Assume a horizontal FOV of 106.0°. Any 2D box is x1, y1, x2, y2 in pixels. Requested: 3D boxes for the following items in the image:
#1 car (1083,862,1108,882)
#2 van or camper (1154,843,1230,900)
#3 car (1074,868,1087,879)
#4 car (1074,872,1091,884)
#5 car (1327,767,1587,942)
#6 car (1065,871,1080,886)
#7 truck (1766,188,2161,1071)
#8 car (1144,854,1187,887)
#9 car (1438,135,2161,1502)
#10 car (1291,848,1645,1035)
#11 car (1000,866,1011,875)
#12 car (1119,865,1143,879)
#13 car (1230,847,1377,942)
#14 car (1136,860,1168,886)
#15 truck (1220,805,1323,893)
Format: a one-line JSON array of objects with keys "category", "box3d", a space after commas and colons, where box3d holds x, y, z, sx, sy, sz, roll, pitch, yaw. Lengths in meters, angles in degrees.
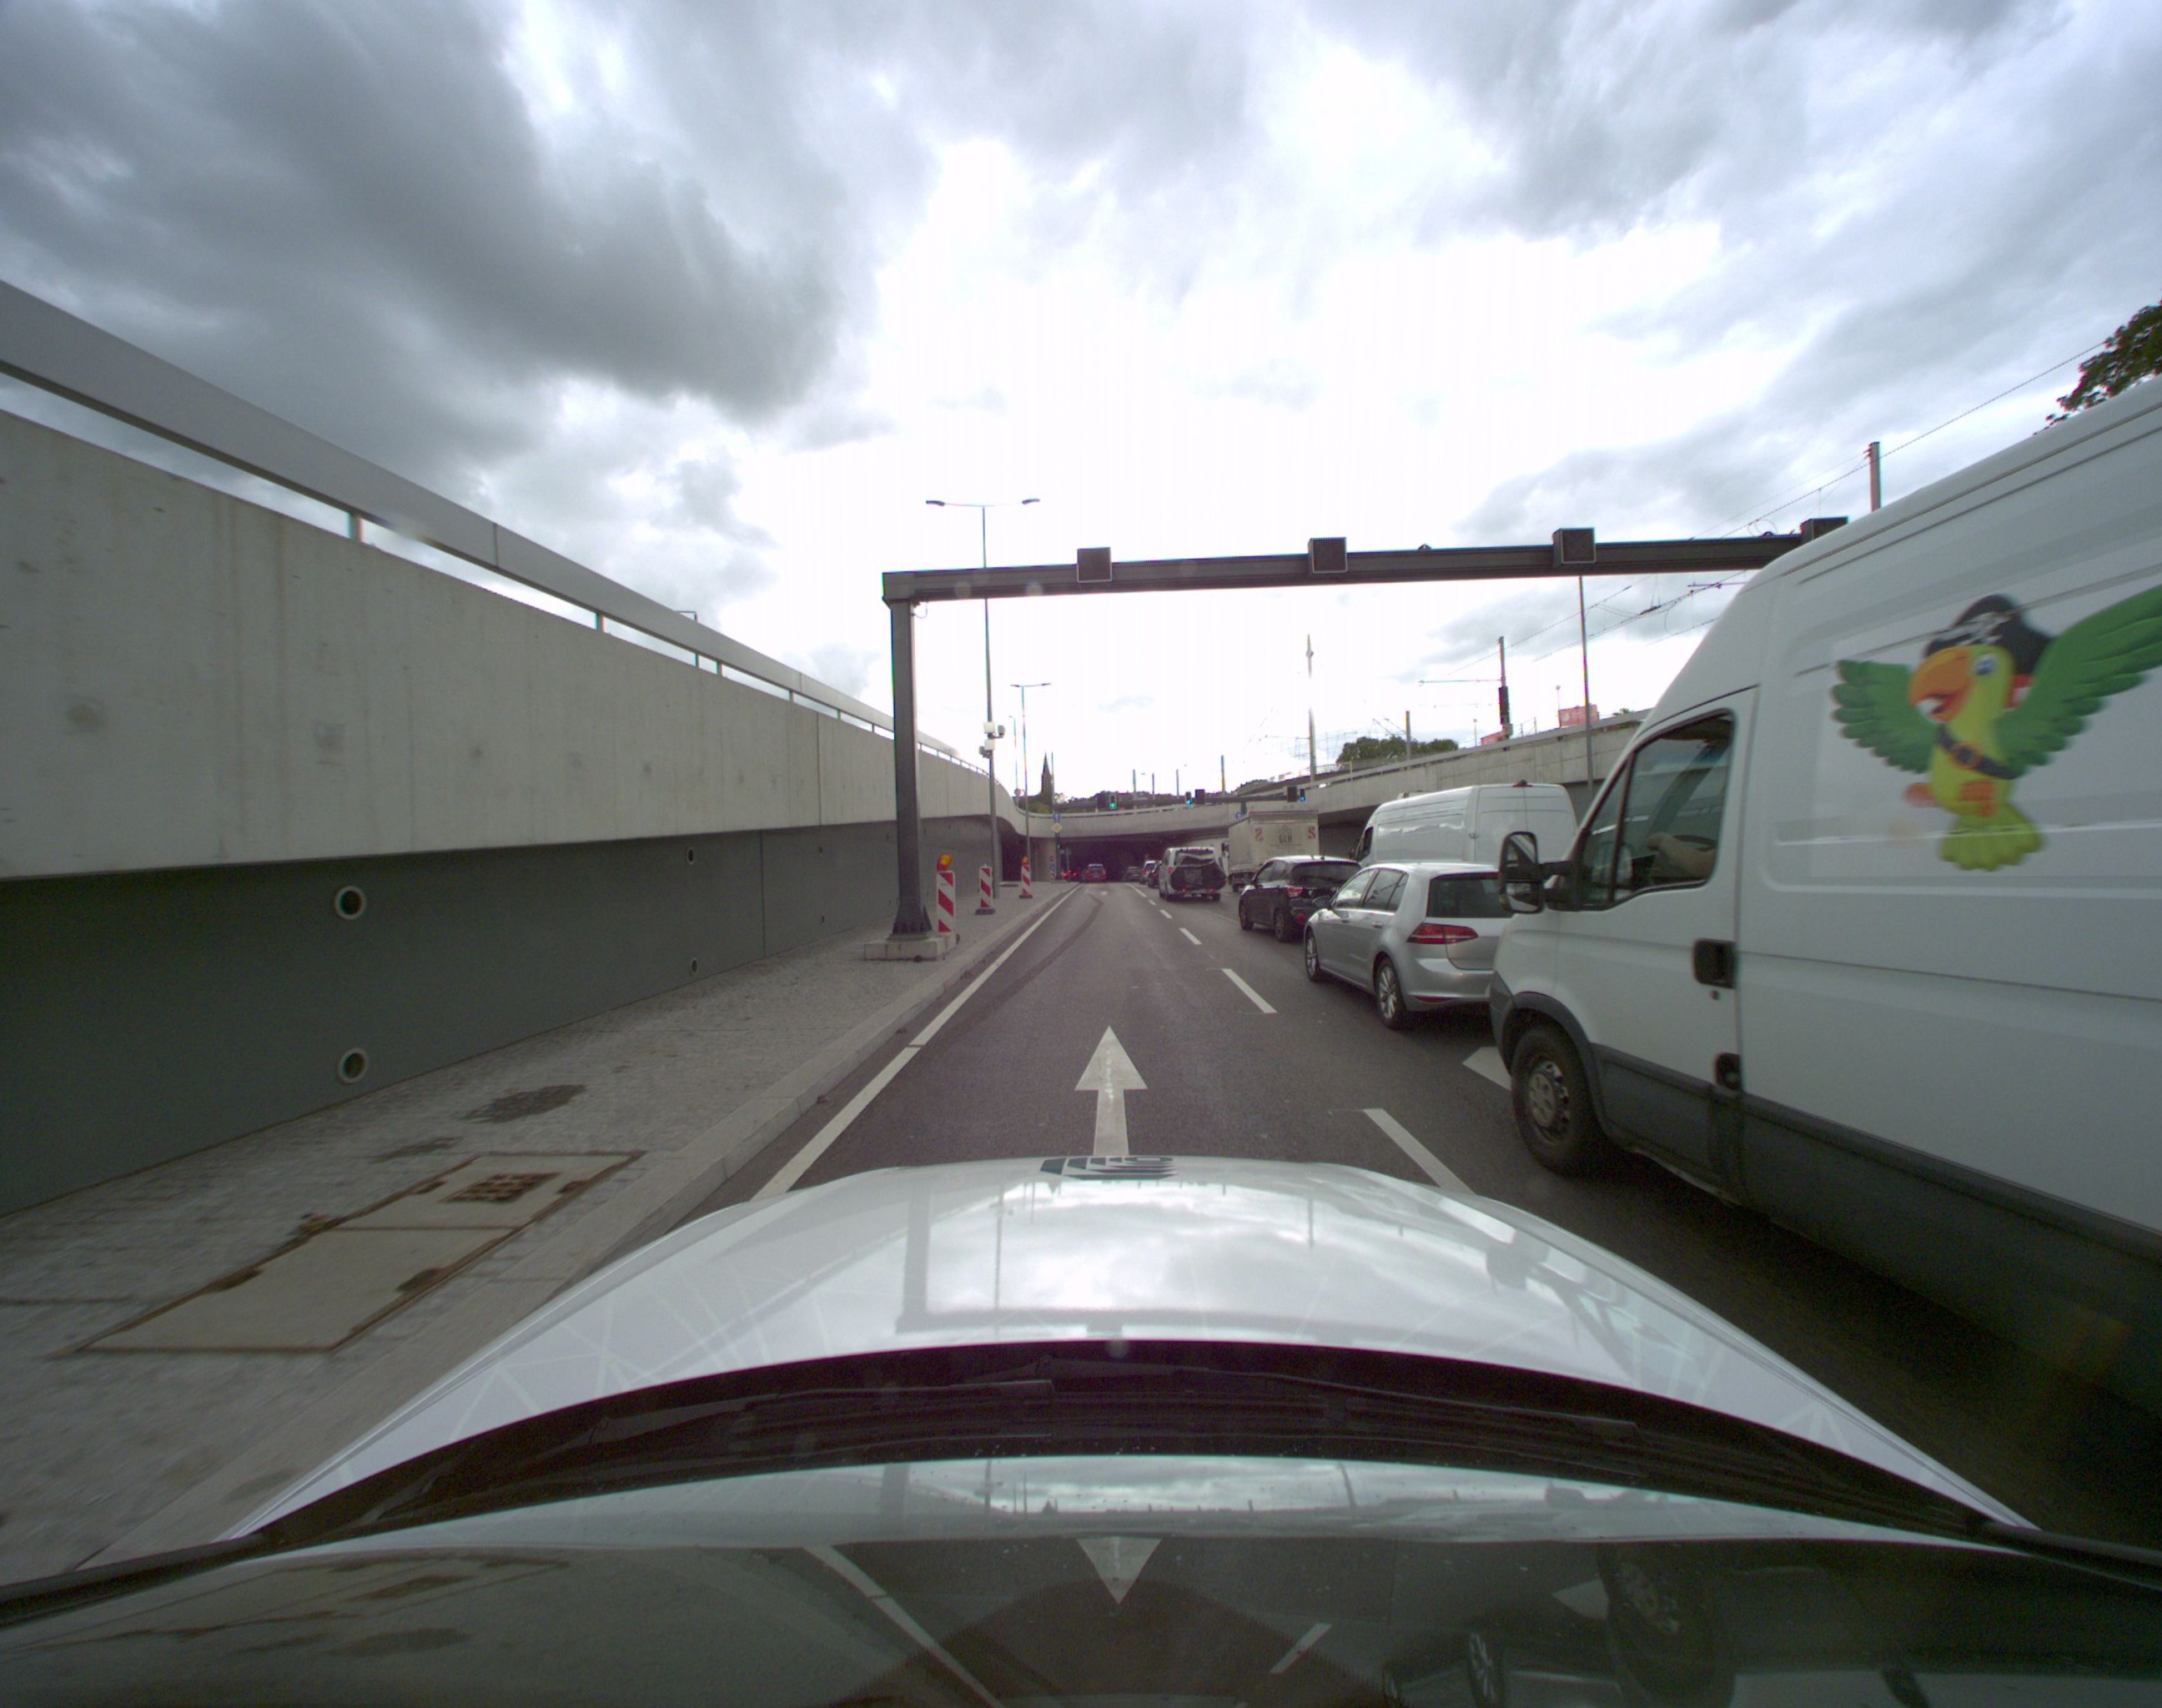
[{"category": "car", "box3d": [1.179, 1.471, 66.175, 1.657, 1.488, 3.560, -1, -2, -5]}, {"category": "van or camper", "box3d": [3.838, 0.678, 29.076, 1.987, 1.845, 5.506, 0, -2, 0]}, {"category": "car", "box3d": [-0.034, 3.180, 133.100, 1.988, 1.773, 3.997, -1, 0, -2]}, {"category": "car", "box3d": [0.151, 2.612, 87.747, 1.506, 1.247, 3.560, -1, -2, -5]}, {"category": "car", "box3d": [7.179, 0.009, 16.830, 2.068, 2.773, 7.327, -1, 0, 1]}, {"category": "car", "box3d": [-1.250, 3.625, 120.743, 1.986, 2.013, 4.001, -1, 0, 1]}, {"category": "truck", "box3d": [7.540, -1.187, 3.065, 3.791, 4.631, 7.444, 0, 0, 1]}, {"category": "car", "box3d": [4.469, 0.868, 43.618, 1.813, 1.684, 3.998, 0, 0, -1]}, {"category": "car", "box3d": [3.120, -0.054, 2.017, 2.050, 2.628, 5.946, 2, -1, 3]}, {"category": "car", "box3d": [3.495, 0.709, 8.291, 1.757, 1.383, 4.040, -2, -1, 2]}, {"category": "car", "box3d": [-13.584, 2.989, 146.799, 1.661, 1.441, 4.107, -2, -1, -4]}, {"category": "car", "box3d": [4.486, 1.641, 73.276, 1.660, 1.247, 3.561, -2, -2, -4]}, {"category": "car", "box3d": [3.988, 0.660, 15.202, 1.677, 1.545, 3.690, 0, 0, -2]}, {"category": "car", "box3d": [4.781, 1.269, 55.197, 1.813, 1.580, 3.999, 2, -1, 0]}, {"category": "truck", "box3d": [7.733, -0.123, 34.074, 2.640, 3.185, 7.427, -2, -1, 1]}]
